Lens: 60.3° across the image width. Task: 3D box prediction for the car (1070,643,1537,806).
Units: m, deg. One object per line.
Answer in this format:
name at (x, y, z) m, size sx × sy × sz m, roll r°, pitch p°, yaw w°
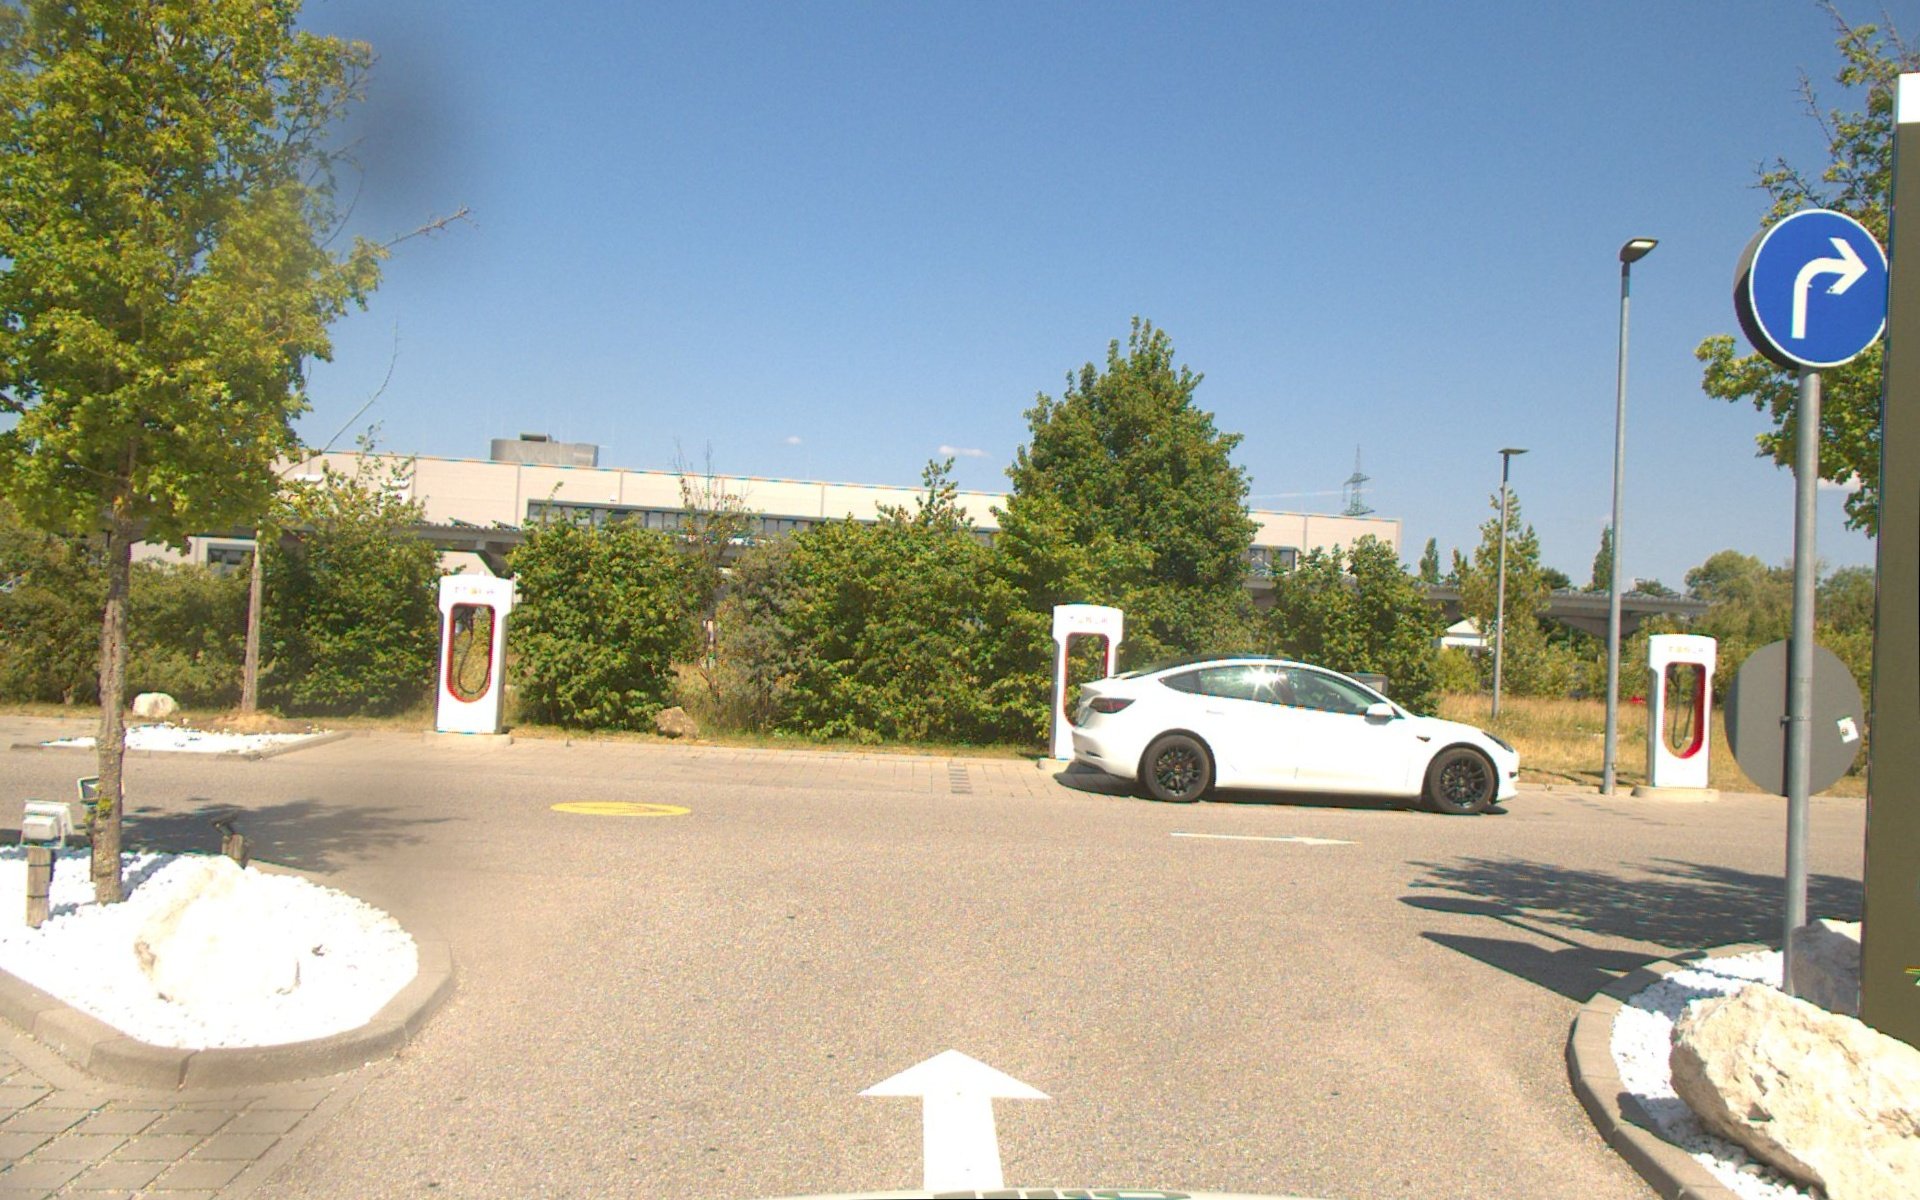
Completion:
car at (3.406, 1.233, 16.935) m, size 4.345 × 1.402 × 1.821 m, roll 2°, pitch -1°, yaw -3°
